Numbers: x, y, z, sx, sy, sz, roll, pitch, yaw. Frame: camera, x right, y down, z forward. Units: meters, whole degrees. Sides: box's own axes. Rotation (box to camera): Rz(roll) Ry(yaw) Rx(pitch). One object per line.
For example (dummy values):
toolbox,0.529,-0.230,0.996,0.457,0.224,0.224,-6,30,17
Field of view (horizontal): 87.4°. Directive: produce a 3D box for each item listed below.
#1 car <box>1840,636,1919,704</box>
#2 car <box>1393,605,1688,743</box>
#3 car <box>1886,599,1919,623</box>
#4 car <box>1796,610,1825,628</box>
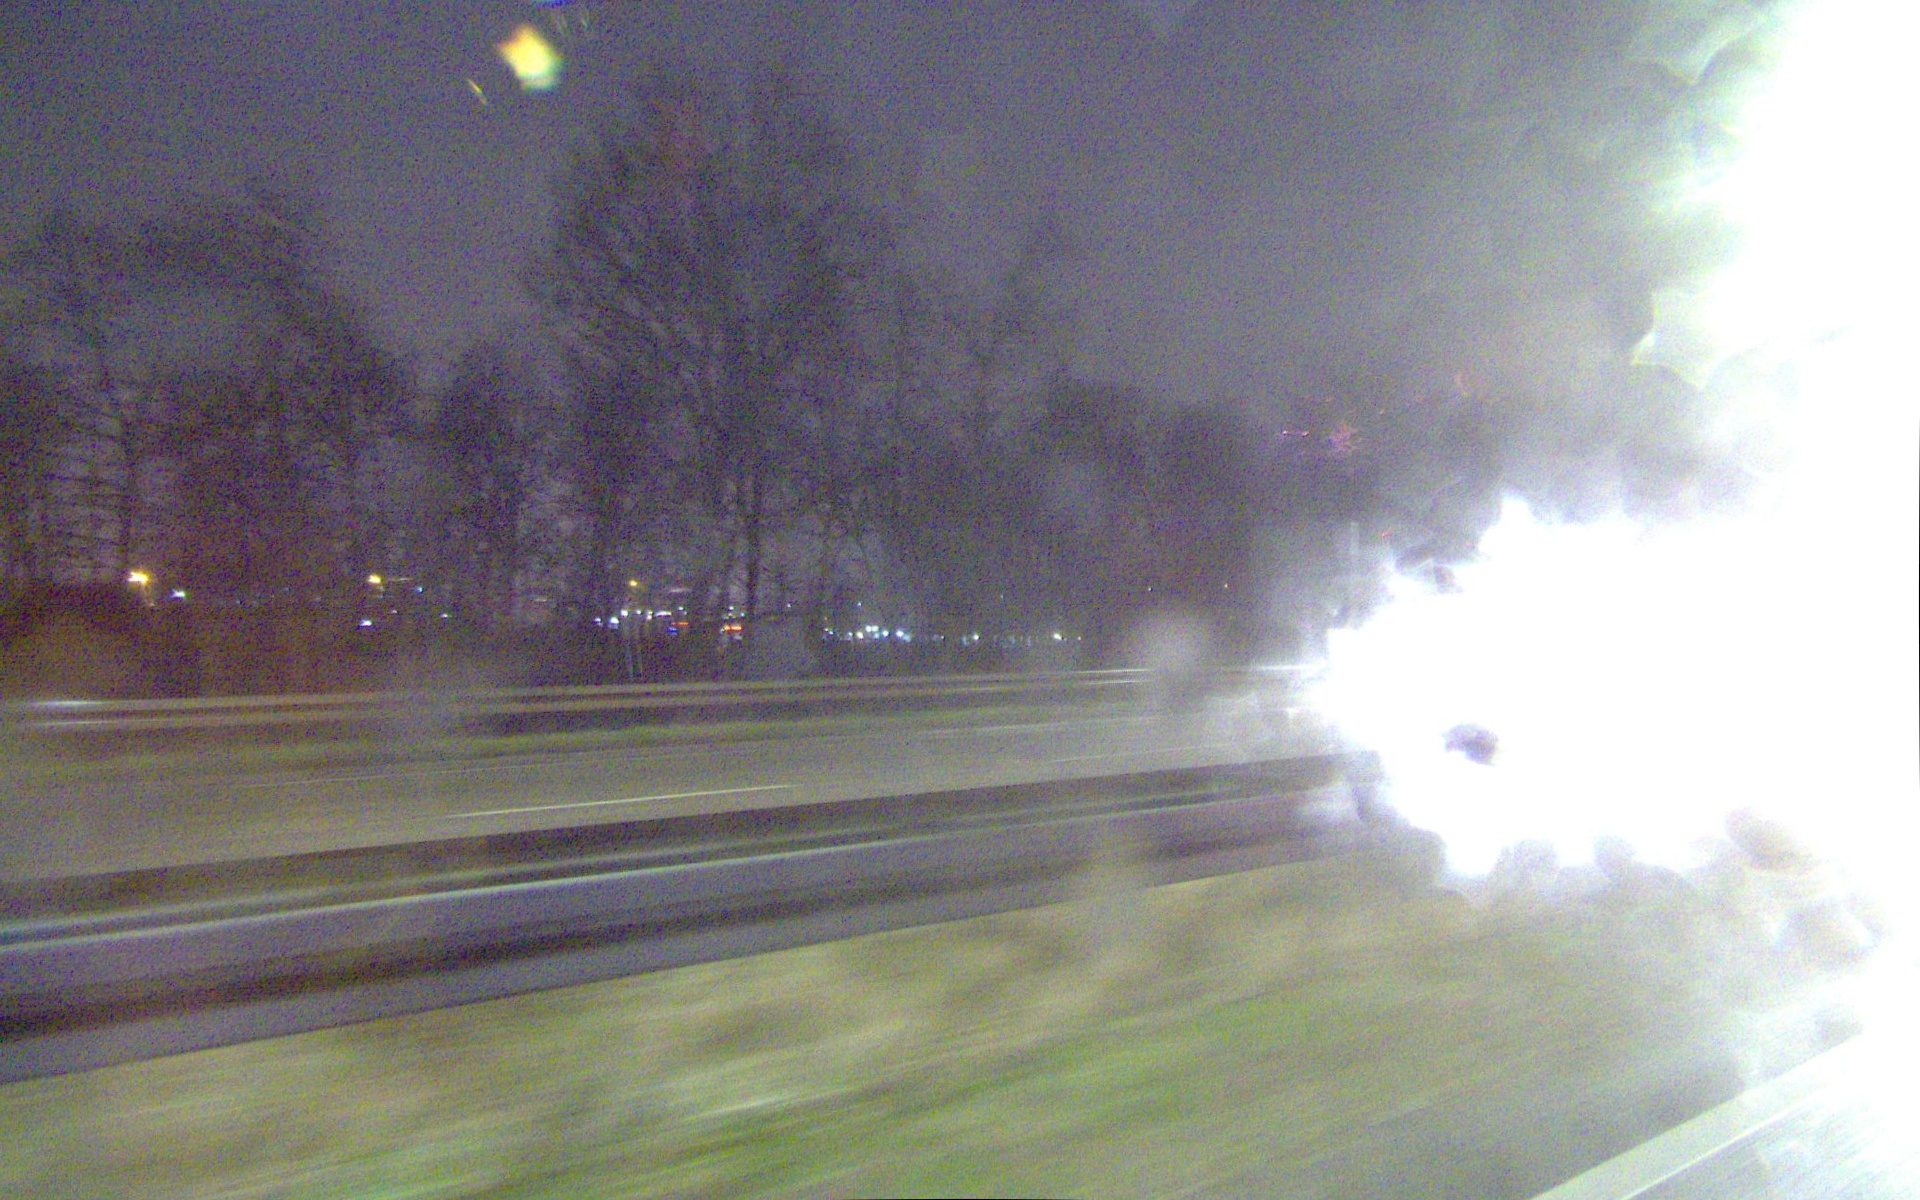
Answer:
car,21.617,1.517,22.491,4.416,1.412,1.805,1,-4,-35
car,7.793,0.933,13.396,3.958,1.589,1.799,1,-4,-34
car,82.444,0.977,86.904,1.961,2.040,3.999,2,0,21
car,90.429,1.986,106.790,1.972,1.709,3.975,4,3,44
